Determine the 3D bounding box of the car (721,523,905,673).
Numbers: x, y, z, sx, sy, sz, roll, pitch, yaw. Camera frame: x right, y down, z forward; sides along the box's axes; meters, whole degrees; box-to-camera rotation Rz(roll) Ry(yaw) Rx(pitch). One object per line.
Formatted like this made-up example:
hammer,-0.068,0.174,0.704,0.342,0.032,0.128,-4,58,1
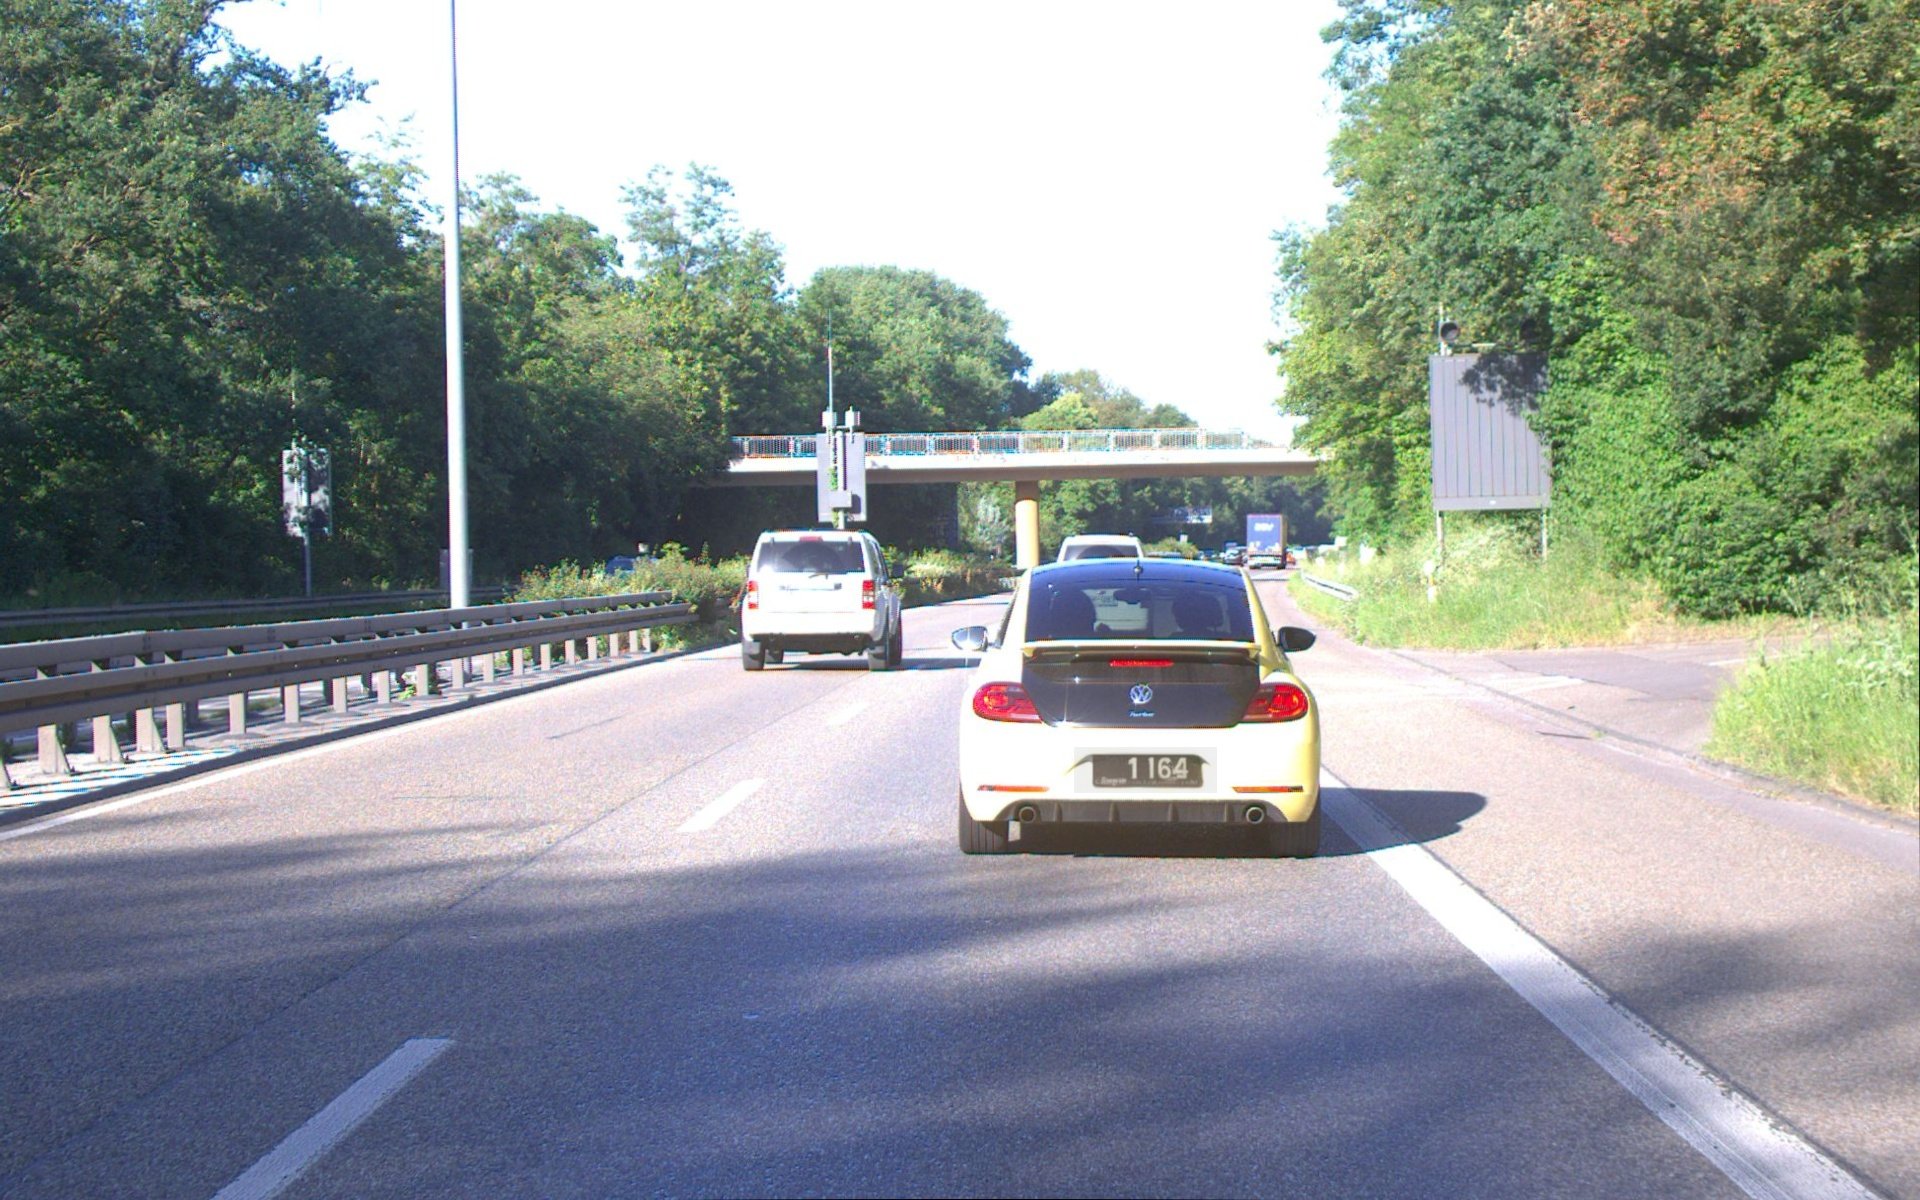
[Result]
car,-1.854,-0.058,44.567,2.085,1.822,4.000,-1,1,1

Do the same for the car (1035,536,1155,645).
car,2.267,-0.182,58.731,1.863,1.764,4.470,-1,1,0

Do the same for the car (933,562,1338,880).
car,0.876,0.543,18.315,1.879,1.456,4.356,1,1,1

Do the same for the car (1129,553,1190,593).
car,7.344,-1.006,126.246,1.994,1.393,3.999,-1,1,7

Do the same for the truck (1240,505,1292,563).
truck,22.627,-4.854,253.918,3.497,4.158,8.859,-1,1,7
